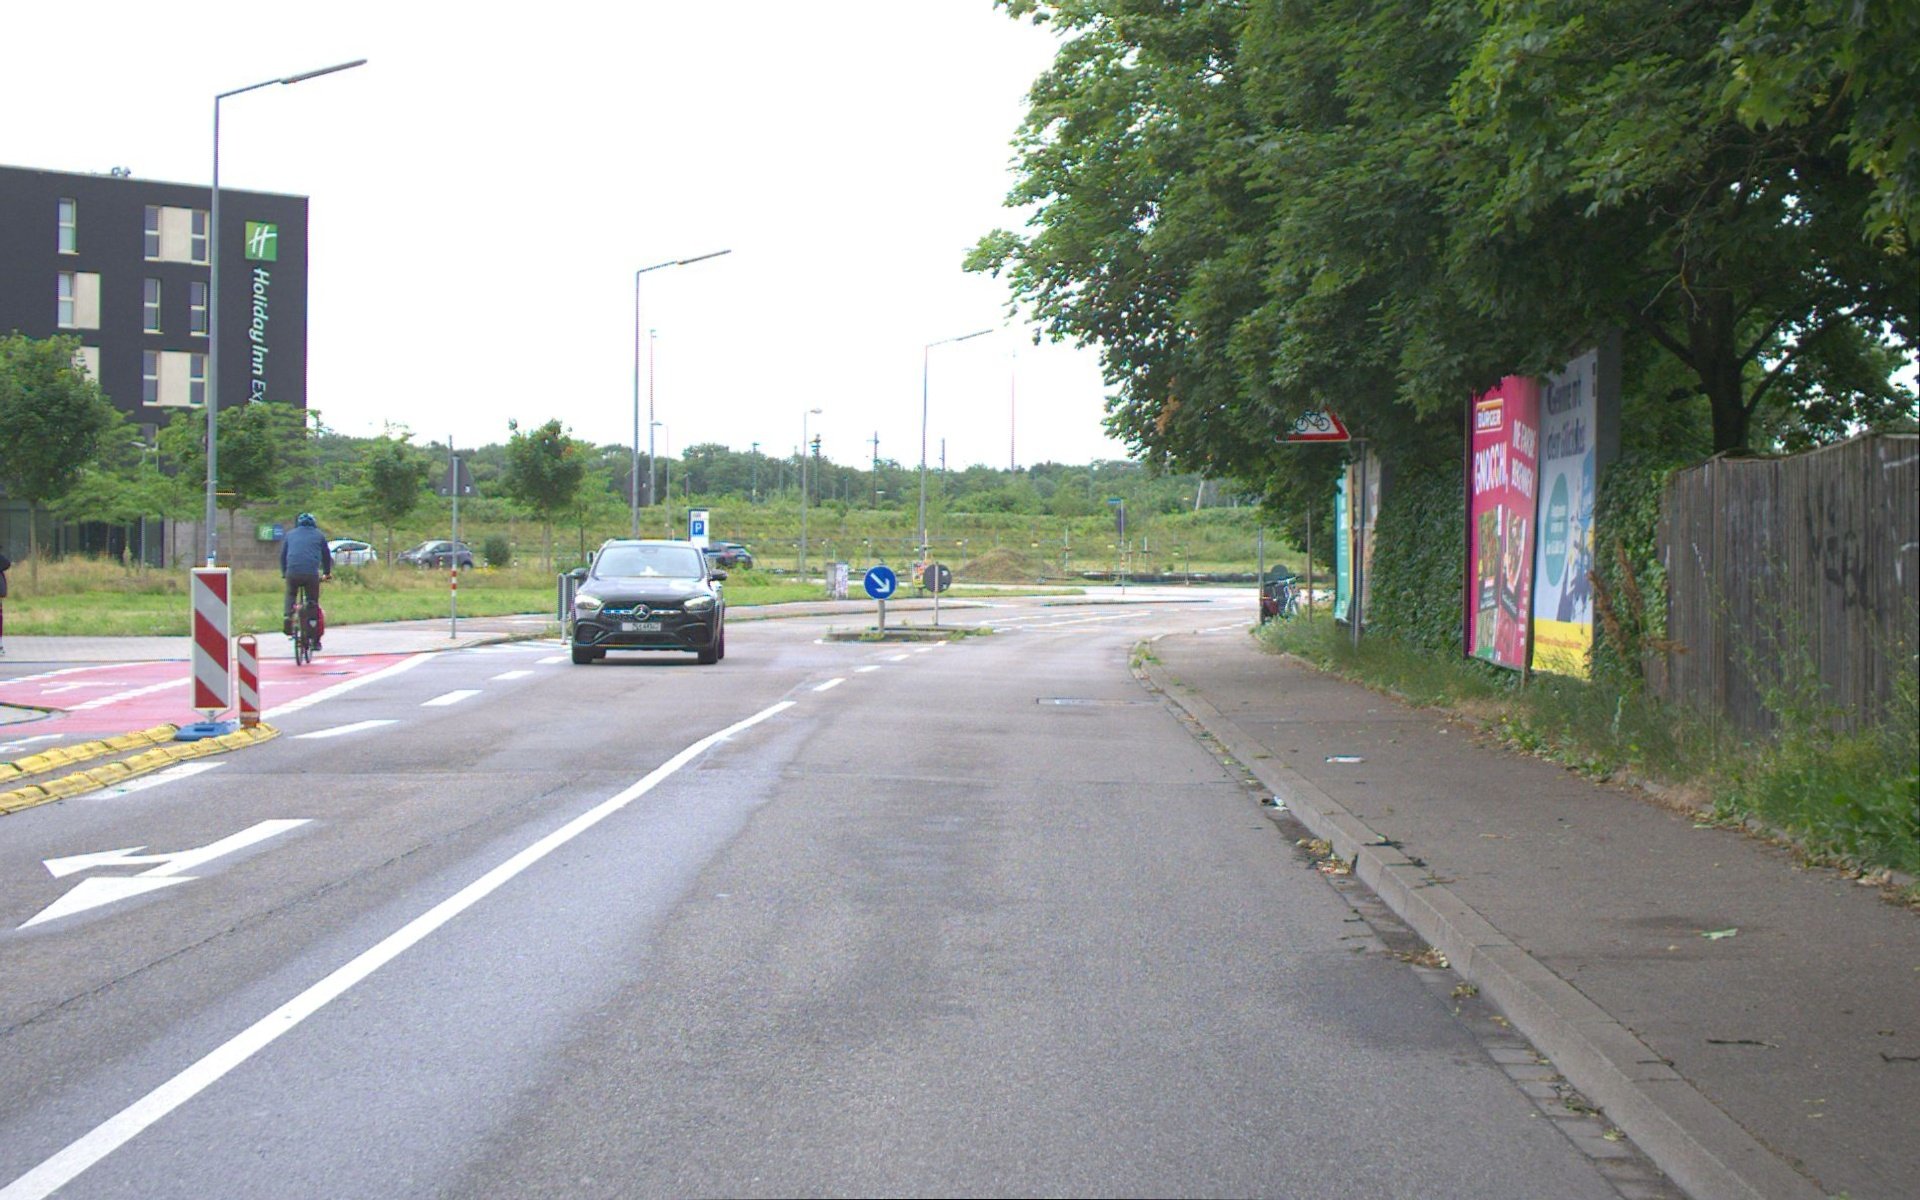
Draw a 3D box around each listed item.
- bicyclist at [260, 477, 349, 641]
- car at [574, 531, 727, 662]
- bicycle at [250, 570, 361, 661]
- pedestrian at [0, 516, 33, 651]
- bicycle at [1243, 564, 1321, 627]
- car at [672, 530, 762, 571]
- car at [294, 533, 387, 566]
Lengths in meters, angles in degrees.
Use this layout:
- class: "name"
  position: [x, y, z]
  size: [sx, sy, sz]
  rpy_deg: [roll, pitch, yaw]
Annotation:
- class: "bicyclist"
  position: [-8.139, -0.517, 42.729]
  size: [0.861, 2.007, 1.177]
  rpy_deg: [1, 2, 1]
- class: "car"
  position: [-3.984, -0.084, 44.829]
  size: [1.880, 1.561, 4.359]
  rpy_deg: [0, 2, -4]
- class: "bicycle"
  position: [-8.138, 0.179, 42.853]
  size: [0.884, 1.049, 2.469]
  rpy_deg: [1, 2, 1]
- class: "pedestrian"
  position: [-13.014, -0.234, 46.218]
  size: [0.843, 1.776, 1.077]
  rpy_deg: [1, 2, -3]
- class: "bicycle"
  position: [5.820, -0.084, 62.086]
  size: [0.796, 1.107, 1.949]
  rpy_deg: [1, 1, 25]
- class: "car"
  position: [-11.395, -2.326, 161.037]
  size: [3.997, 1.816, 1.995]
  rpy_deg: [2, 2, 44]
- class: "car"
  position: [-29.452, -2.399, 163.616]
  size: [1.998, 1.512, 4.145]
  rpy_deg: [2, 2, 35]
